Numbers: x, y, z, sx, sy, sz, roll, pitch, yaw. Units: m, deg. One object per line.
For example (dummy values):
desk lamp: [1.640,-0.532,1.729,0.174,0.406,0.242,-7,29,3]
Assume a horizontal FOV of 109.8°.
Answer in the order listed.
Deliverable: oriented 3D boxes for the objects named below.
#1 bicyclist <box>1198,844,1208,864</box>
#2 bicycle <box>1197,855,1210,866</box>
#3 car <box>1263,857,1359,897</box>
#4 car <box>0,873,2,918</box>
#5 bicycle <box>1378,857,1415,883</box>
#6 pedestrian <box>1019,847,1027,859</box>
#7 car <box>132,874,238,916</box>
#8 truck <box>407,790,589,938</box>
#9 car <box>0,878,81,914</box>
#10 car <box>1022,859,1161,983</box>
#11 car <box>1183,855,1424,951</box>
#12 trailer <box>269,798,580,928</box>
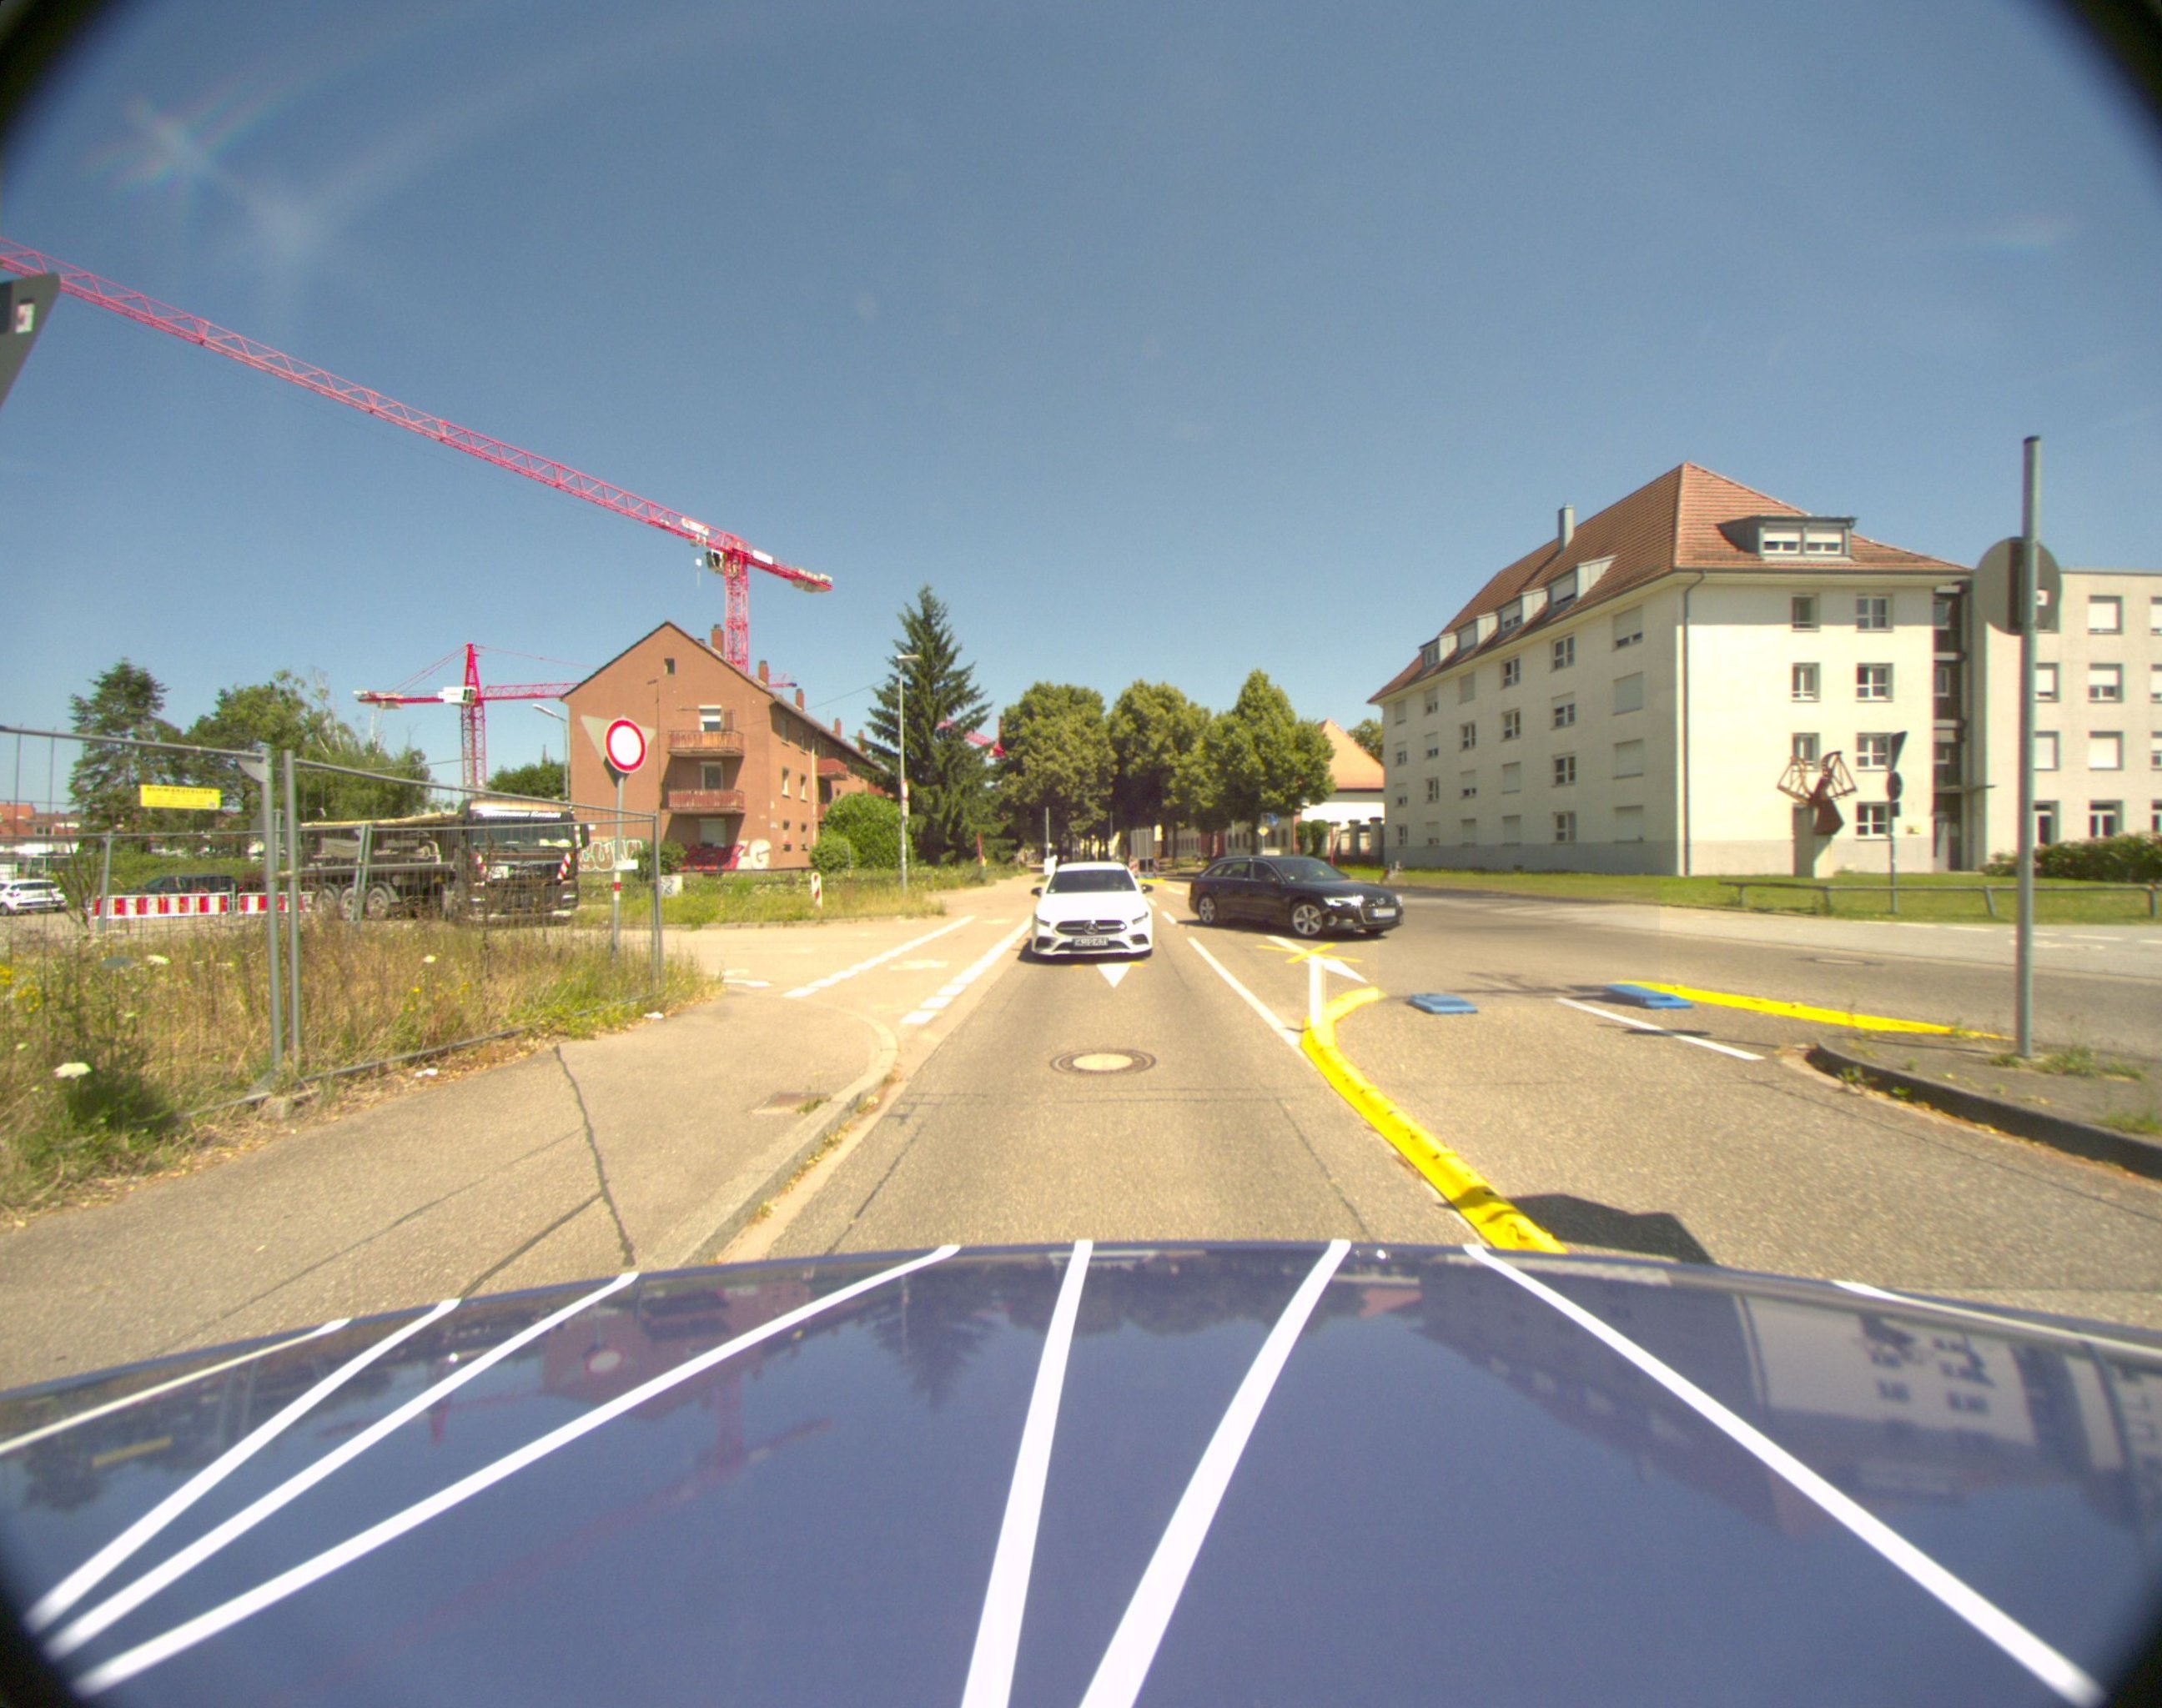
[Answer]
bicyclist: [9.835,-0.018,61.271,0.568,1.601,0.740,-1,1,-4]
bicycle: [9.845,0.505,61.185,0.562,0.910,1.907,-1,0,-4]
car: [8.502,0.806,28.569,1.821,1.395,4.631,0,0,-5]
car: [-50.581,1.887,33.254,4.676,2.002,1.785,-1,1,6]
bicycle: [13.323,0.660,32.133,0.709,1.018,1.985,-4,1,2]
pedestrian: [-7.833,-0.140,102.875,1.024,1.509,0.682,-1,1,2]
car: [-36.013,1.634,30.546,3.412,1.604,1.371,-1,1,14]
truck: [-16.037,0.244,20.813,4.950,3.512,3.171,-1,1,44]
car: [-44.954,1.766,32.599,2.785,1.398,1.419,-1,3,14]
car: [0.171,0.897,11.968,1.780,1.536,3.963,-2,0,1]
car: [3.929,0.801,14.359,1.804,1.443,4.609,-2,0,-24]
trailer: [-20.249,0.298,23.445,8.972,3.512,3.169,-1,0,20]
